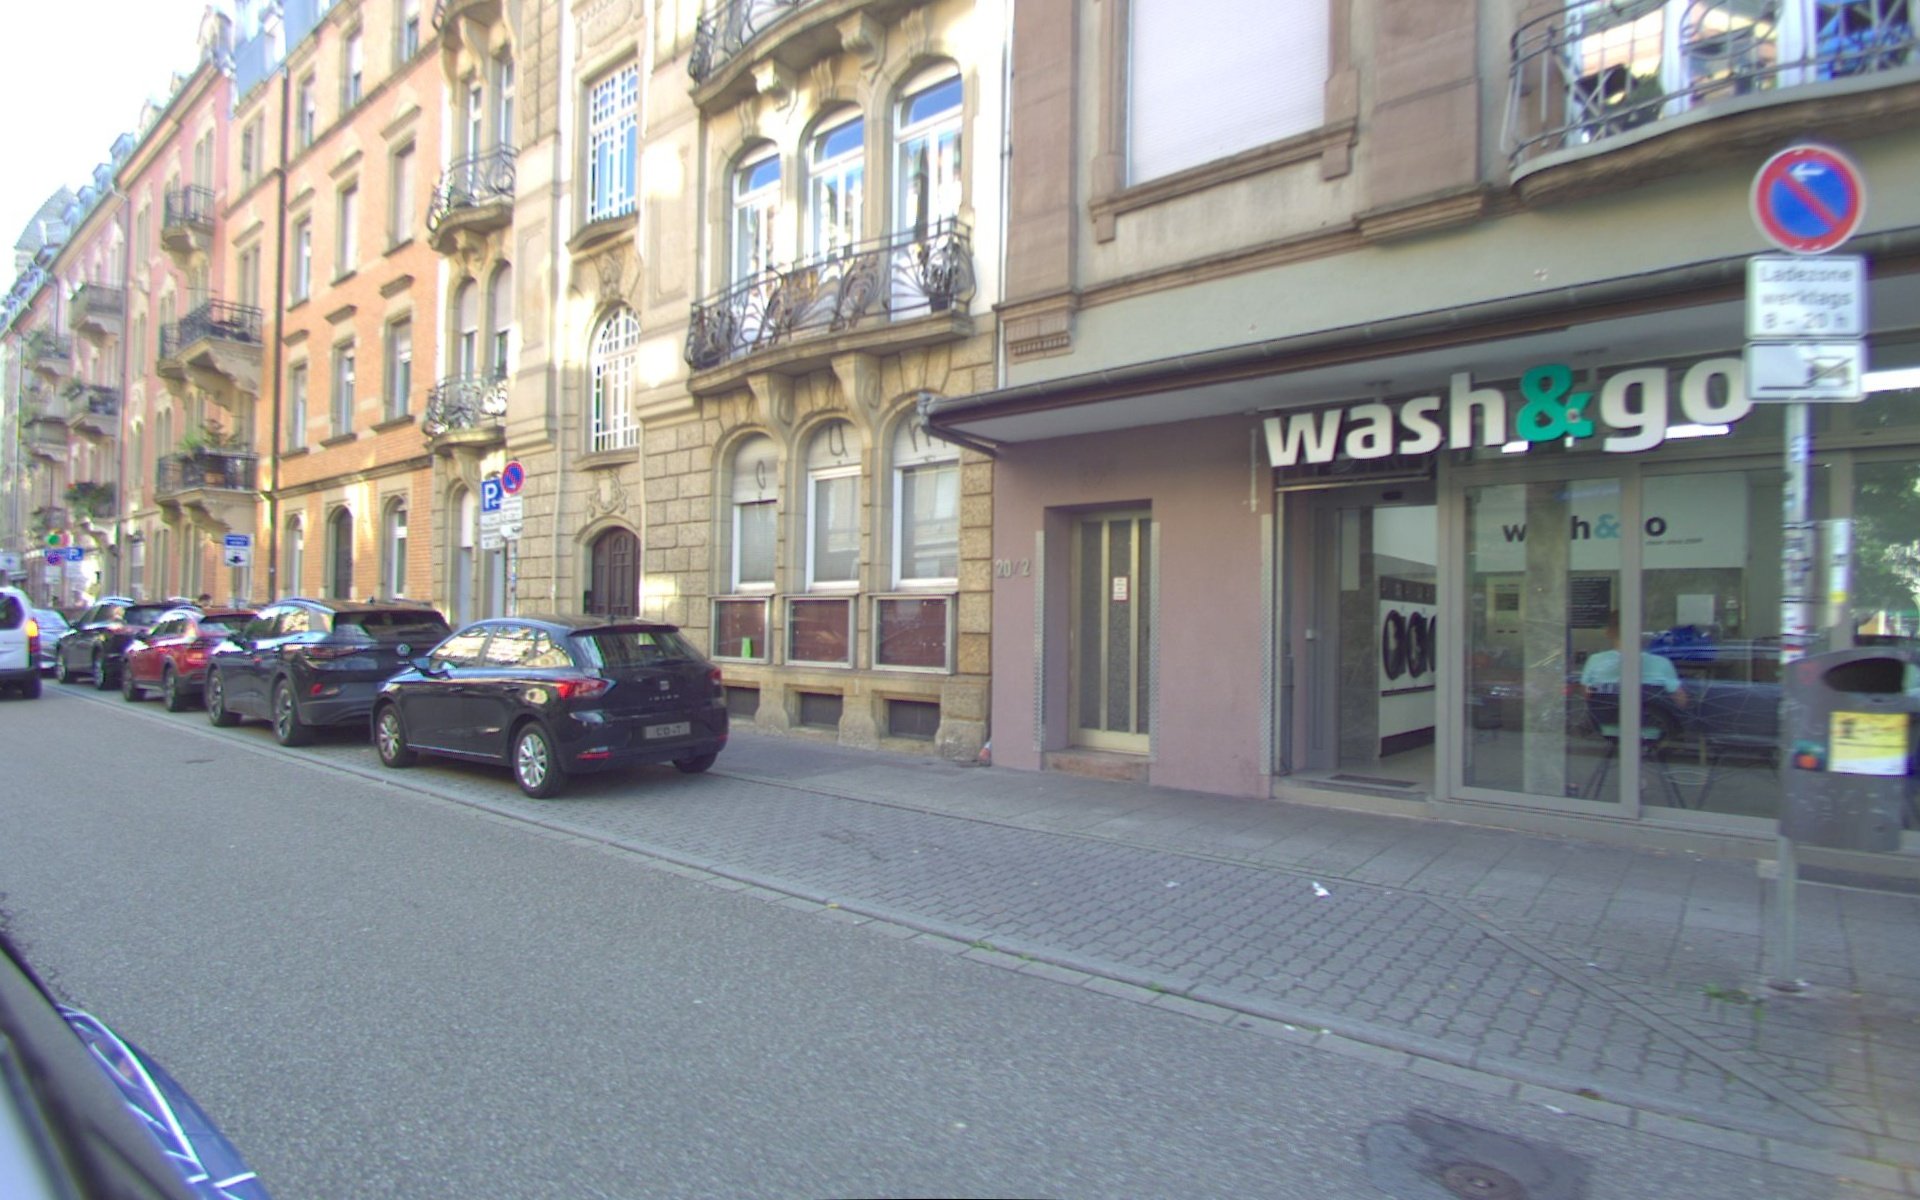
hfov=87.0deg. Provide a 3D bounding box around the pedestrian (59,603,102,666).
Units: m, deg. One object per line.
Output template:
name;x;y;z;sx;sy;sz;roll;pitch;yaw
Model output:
pedestrian;-23.616;0.916;27.191;0.545;1.674;0.679;-1;-1;10

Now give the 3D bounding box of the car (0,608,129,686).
car;-20.830;0.989;23.009;5.254;1.590;1.808;-1;-1;37

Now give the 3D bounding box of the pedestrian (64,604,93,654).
pedestrian;-30.787;1.000;35.341;0.763;1.709;0.657;-1;-1;40

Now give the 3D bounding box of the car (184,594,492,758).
car;-7.744;0.798;12.390;4.844;1.641;1.772;0;-2;40

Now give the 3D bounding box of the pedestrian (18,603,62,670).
pedestrian;-24.203;0.954;26.628;0.659;1.722;0.565;0;-1;5

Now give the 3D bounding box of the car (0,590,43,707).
car;-17.102;0.787;17.142;4.437;1.842;1.897;-1;-1;42

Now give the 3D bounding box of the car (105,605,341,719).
car;-11.786;0.886;16.081;4.422;1.556;1.974;0;-2;39

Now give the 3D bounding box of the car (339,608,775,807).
car;-3.872;0.825;9.427;4.240;1.431;1.973;-1;-2;40

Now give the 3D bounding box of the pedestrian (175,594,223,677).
pedestrian;-17.199;0.794;22.865;0.863;1.822;0.748;-1;-1;44

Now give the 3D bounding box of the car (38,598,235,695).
car;-16.164;0.863;19.782;4.885;1.693;1.856;-1;-1;37
